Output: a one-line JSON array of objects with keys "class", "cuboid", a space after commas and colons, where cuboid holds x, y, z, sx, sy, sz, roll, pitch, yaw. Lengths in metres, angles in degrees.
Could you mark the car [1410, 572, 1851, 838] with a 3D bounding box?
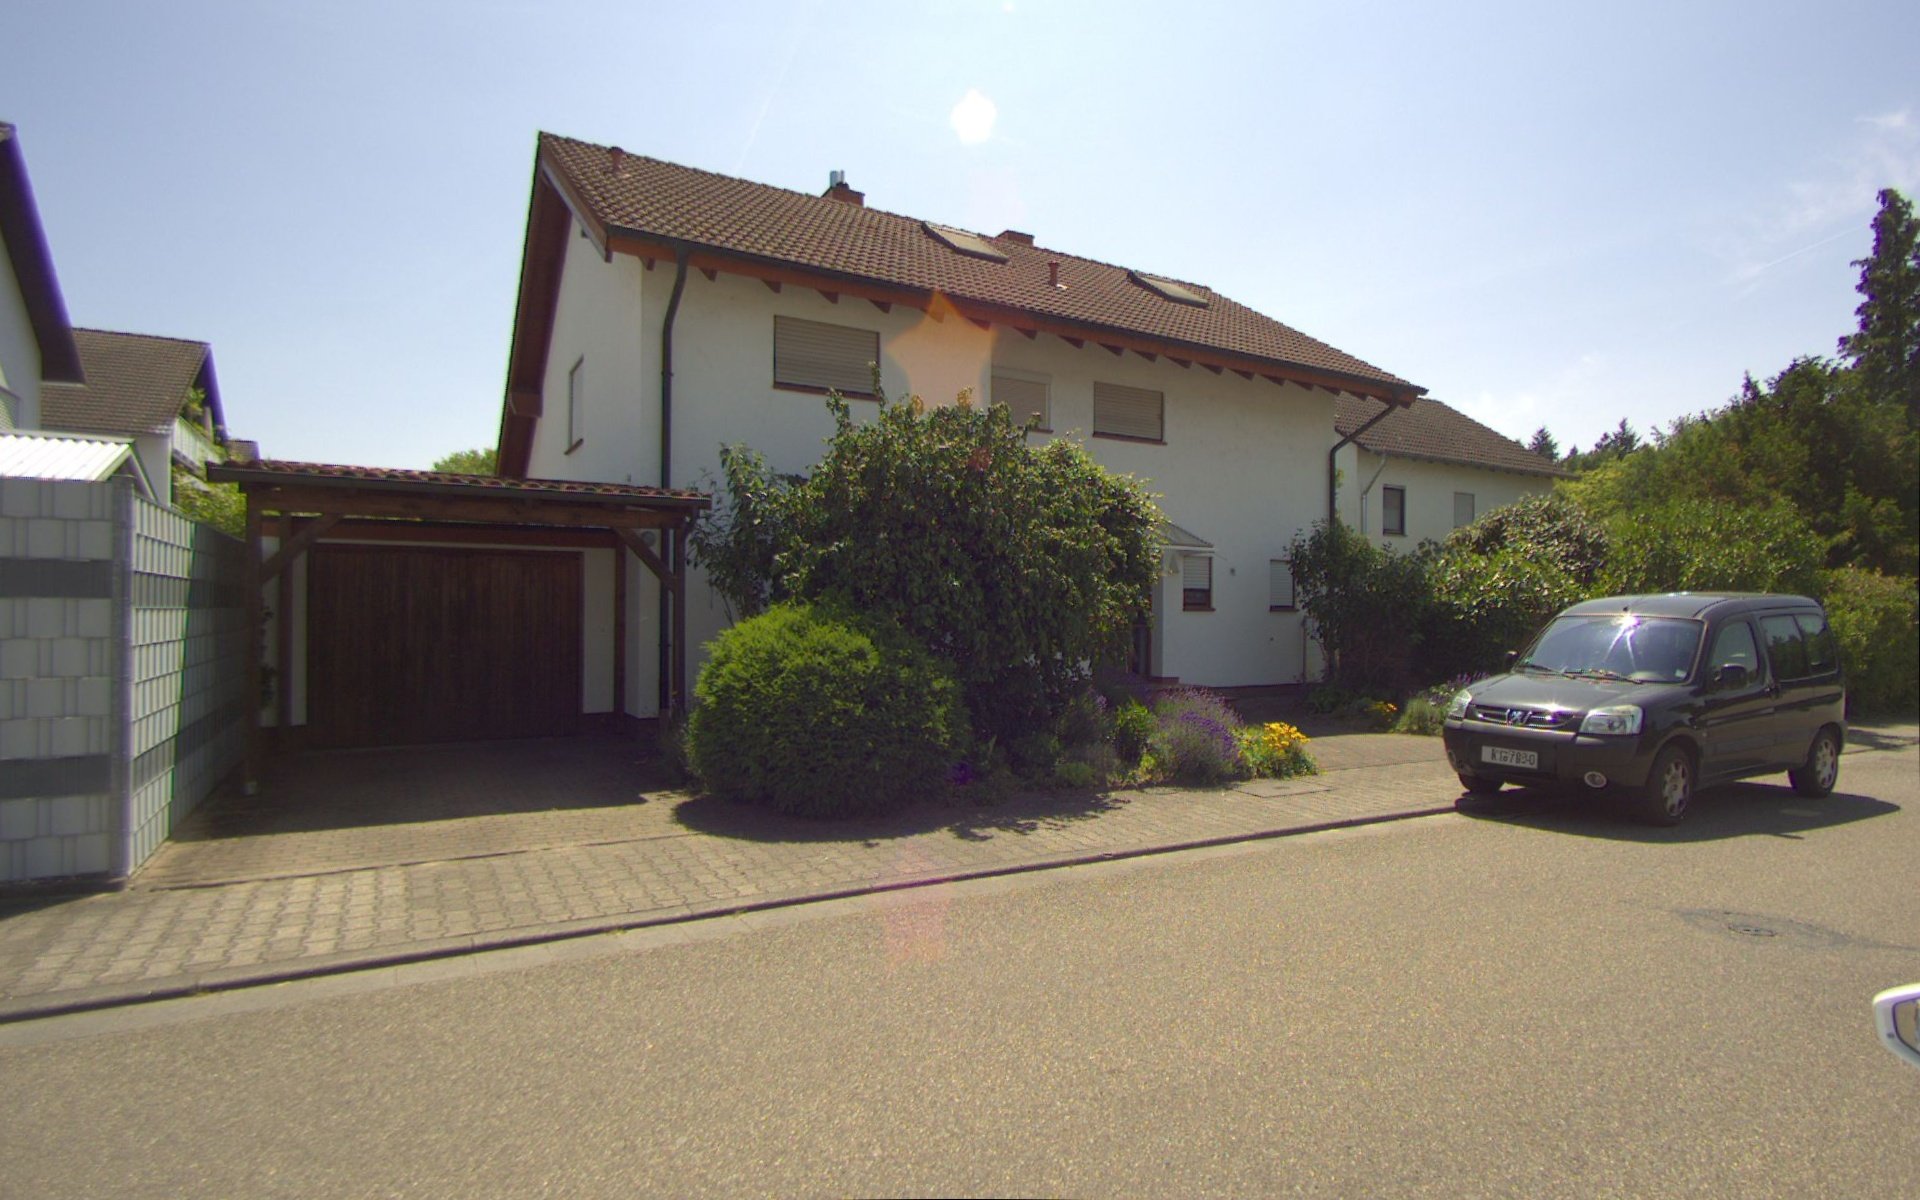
[{"class": "car", "cuboid": [5.974, 0.781, 8.843, 4.008, 1.870, 1.709, 1, -1, -31]}]
